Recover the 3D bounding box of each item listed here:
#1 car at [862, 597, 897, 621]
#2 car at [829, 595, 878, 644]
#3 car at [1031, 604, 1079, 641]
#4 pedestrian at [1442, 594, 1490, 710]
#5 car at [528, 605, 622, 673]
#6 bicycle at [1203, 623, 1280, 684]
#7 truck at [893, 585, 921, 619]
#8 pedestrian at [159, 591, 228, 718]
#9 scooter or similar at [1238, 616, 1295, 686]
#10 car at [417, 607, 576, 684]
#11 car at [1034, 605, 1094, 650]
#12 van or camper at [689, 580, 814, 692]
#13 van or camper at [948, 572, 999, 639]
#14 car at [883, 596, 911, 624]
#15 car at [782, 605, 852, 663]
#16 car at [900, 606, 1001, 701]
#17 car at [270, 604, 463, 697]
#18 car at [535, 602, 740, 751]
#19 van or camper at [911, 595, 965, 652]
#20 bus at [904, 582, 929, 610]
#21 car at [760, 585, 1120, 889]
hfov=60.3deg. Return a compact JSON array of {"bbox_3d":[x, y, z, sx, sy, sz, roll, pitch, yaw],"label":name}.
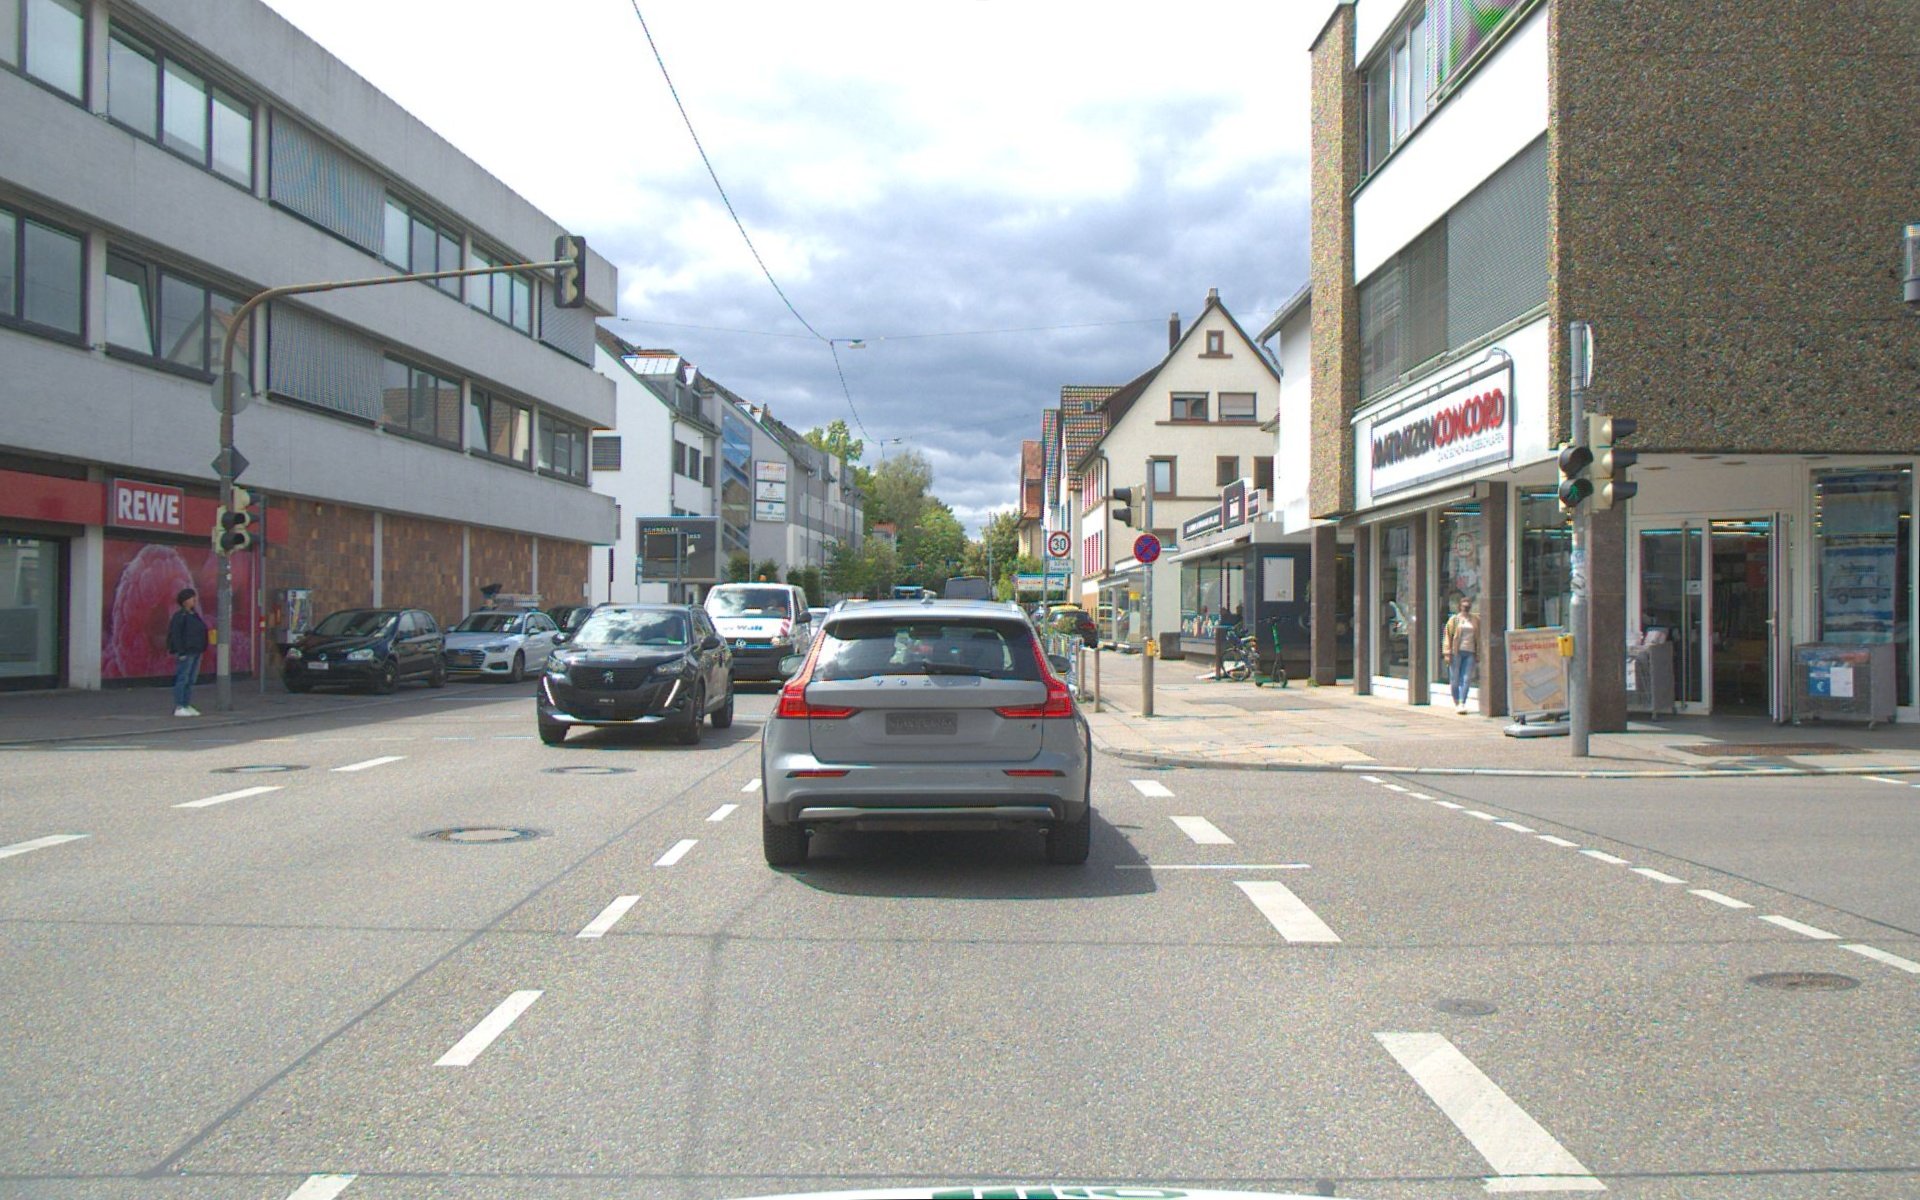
[{"bbox_3d":[-4.998,0.523,102.951,1.725,1.451,4.002,-1,0,4],"label":"car"},{"bbox_3d":[-4.352,0.800,68.262,1.801,1.951,4.154,1,-1,-1],"label":"car"},{"bbox_3d":[4.123,1.015,72.172,1.844,1.526,3.971,1,-2,0],"label":"car"},{"bbox_3d":[6.635,0.676,21.700,0.493,1.484,0.500,-3,-1,12],"label":"pedestrian"},{"bbox_3d":[-9.473,0.937,40.862,1.574,1.570,2.944,2,0,0],"label":"car"},{"bbox_3d":[5.717,1.070,33.745,0.546,1.164,2.288,-1,0,-18],"label":"bicycle"},{"bbox_3d":[-4.619,0.197,145.487,2.229,2.937,7.078,0,0,0],"label":"truck"},{"bbox_3d":[-10.298,0.725,22.226,0.606,1.670,0.660,0,0,0],"label":"pedestrian"},{"bbox_3d":[5.705,0.952,30.814,0.336,1.275,1.235,-2,-1,-26],"label":"scooter or similar"},{"bbox_3d":[-9.692,0.906,34.960,1.864,1.469,4.445,1,0,3],"label":"car"},{"bbox_3d":[3.643,1.006,58.667,1.676,1.490,3.997,1,-2,-3],"label":"car"},{"bbox_3d":[-3.824,0.600,31.048,1.827,1.931,4.691,0,0,-1],"label":"van or camper"},{"bbox_3d":[0.553,0.219,70.460,2.080,2.733,4.781,0,0,0],"label":"van or camper"},{"bbox_3d":[-4.497,0.714,118.524,1.761,1.848,3.999,1,-2,0],"label":"car"},{"bbox_3d":[-4.086,0.938,47.718,1.634,1.581,4.214,0,0,0],"label":"car"},{"bbox_3d":[-0.187,0.889,28.505,1.617,1.508,3.606,1,-1,-1],"label":"car"},{"bbox_3d":[-10.458,0.863,29.479,1.747,1.490,4.088,1,-1,3],"label":"car"},{"bbox_3d":[-3.647,0.808,19.335,1.648,1.523,3.966,-1,0,-1],"label":"car"},{"bbox_3d":[-0.768,0.856,57.149,1.782,1.867,3.998,0,-2,-1],"label":"van or camper"},{"bbox_3d":[-4.278,-0.405,162.832,2.229,2.715,7.429,-1,0,0],"label":"bus"},{"bbox_3d":[-0.140,0.706,10.283,1.798,1.512,3.999,0,-1,-1],"label":"car"}]
